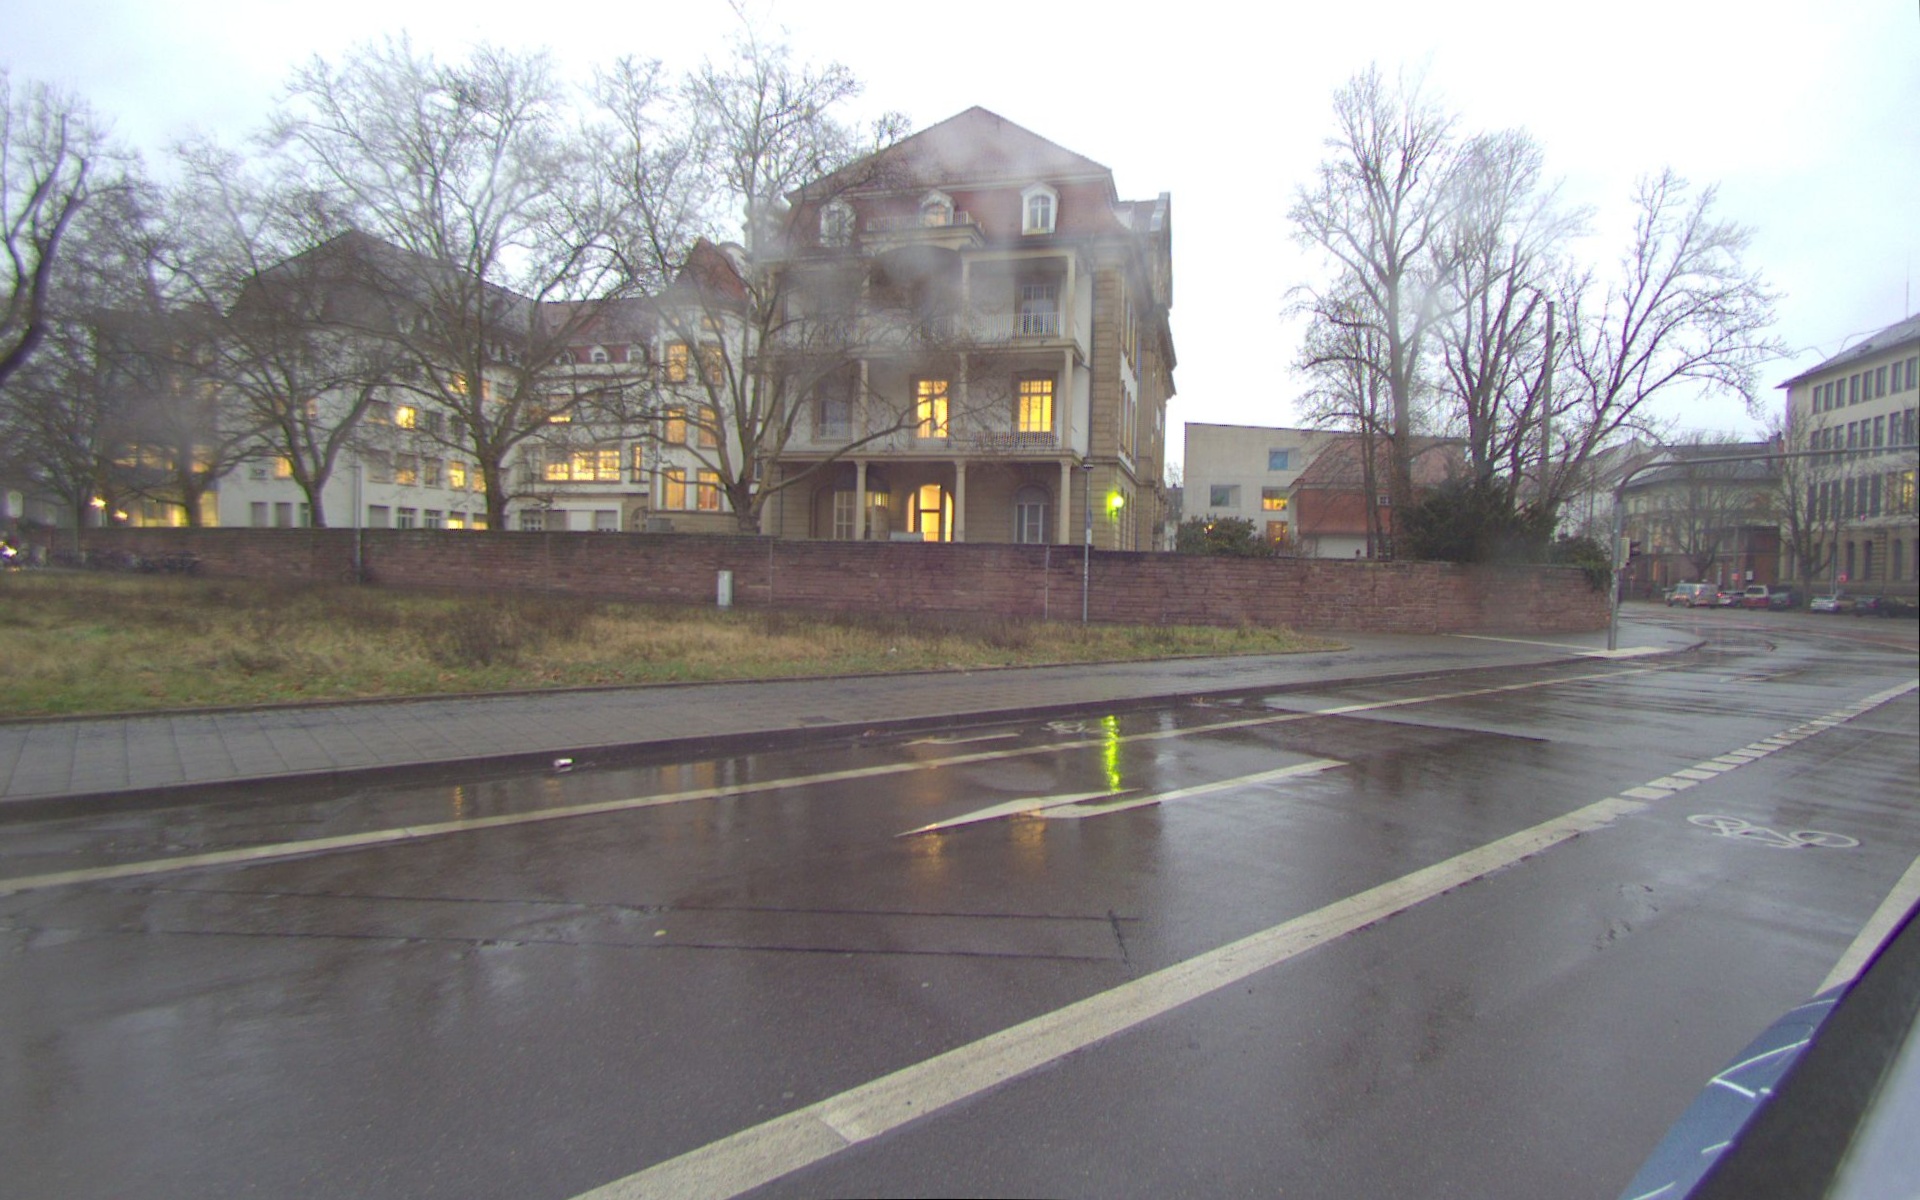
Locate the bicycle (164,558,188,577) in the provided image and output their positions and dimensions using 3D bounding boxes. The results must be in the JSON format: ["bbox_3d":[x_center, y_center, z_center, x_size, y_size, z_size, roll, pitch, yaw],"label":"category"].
[{"bbox_3d":[-35.548,-1.468,45.858,1.519,0.796,0.389,0,0,33],"label":"bicycle"}]

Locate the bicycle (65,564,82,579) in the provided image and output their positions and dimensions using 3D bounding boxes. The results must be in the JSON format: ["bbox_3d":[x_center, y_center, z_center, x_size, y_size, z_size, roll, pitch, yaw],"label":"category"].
[{"bbox_3d":[-47.893,-1.536,54.673,1.522,0.796,0.389,0,0,38],"label":"bicycle"}]

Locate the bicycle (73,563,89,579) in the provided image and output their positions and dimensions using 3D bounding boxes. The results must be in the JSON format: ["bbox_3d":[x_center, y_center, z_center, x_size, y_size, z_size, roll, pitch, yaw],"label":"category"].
[{"bbox_3d":[-46.670,-1.534,53.718,1.522,0.796,0.389,0,0,38],"label":"bicycle"}]

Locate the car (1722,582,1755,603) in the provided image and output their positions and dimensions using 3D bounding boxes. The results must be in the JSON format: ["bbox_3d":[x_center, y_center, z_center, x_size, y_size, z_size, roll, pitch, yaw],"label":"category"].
[{"bbox_3d":[66.484,-0.642,86.384,1.992,1.690,3.940,0,0,42],"label":"car"}]

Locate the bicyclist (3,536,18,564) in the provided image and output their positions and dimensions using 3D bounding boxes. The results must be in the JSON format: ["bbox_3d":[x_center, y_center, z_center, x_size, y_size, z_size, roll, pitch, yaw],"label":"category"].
[{"bbox_3d":[-58.168,-3.055,62.011,0.450,1.662,0.603,0,0,37],"label":"bicyclist"}]

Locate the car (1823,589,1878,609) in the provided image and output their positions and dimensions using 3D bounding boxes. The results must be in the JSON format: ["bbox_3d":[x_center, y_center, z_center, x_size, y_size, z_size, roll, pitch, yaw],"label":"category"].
[{"bbox_3d":[63.605,-0.080,72.297,3.568,1.322,1.712,-1,0,-25],"label":"car"}]

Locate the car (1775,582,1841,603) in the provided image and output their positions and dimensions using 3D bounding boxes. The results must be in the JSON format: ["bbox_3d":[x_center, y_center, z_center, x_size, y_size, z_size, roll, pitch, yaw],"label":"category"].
[{"bbox_3d":[64.703,-0.584,77.222,3.916,1.570,1.805,0,0,-13],"label":"car"}]

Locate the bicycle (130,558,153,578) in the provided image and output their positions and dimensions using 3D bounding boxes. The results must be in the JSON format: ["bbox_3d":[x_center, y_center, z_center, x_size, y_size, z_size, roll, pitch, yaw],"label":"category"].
[{"bbox_3d":[-38.624,-1.506,47.766,1.519,0.869,0.389,0,0,33],"label":"bicycle"}]

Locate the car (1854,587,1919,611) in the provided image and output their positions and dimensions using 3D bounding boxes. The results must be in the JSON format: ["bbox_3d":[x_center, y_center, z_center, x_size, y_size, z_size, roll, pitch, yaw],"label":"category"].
[{"bbox_3d":[61.961,-0.059,66.912,3.927,1.570,1.800,0,0,4],"label":"car"}]

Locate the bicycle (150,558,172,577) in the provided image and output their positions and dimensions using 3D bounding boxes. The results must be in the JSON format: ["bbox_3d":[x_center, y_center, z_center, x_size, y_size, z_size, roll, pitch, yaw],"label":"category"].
[{"bbox_3d":[-37.028,-1.496,46.884,1.480,0.849,0.346,0,0,32],"label":"bicycle"}]

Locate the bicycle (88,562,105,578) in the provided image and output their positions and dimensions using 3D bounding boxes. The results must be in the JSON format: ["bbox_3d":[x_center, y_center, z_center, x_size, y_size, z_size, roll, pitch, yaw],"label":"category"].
[{"bbox_3d":[-44.176,-1.528,51.766,1.522,0.796,0.389,0,0,38],"label":"bicycle"}]

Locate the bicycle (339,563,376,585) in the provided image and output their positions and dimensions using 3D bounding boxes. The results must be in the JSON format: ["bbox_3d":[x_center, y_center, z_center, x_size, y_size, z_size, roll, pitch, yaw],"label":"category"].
[{"bbox_3d":[-23.382,-0.988,39.269,1.366,0.835,0.392,0,0,14],"label":"bicycle"}]

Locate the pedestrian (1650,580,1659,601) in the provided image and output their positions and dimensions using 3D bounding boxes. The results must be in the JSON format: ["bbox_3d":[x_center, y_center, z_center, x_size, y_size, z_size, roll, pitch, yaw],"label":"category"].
[{"bbox_3d":[67.637,-0.907,98.605,0.540,2.038,0.472,3,2,18],"label":"pedestrian"}]

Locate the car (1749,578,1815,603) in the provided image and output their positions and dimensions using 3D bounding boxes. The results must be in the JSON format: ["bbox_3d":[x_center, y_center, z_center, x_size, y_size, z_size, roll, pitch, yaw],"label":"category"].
[{"bbox_3d":[64.984,-0.789,80.019,3.916,1.924,2.052,0,0,-13],"label":"car"}]

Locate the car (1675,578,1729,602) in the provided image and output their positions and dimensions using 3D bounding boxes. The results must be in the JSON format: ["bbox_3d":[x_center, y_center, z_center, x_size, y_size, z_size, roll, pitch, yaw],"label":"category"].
[{"bbox_3d":[59.568,-0.800,81.325,1.852,1.868,3.991,0,0,8],"label":"car"}]

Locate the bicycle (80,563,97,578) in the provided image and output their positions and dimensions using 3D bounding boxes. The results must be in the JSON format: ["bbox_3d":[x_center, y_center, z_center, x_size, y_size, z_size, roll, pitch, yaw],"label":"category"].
[{"bbox_3d":[-45.439,-1.531,52.740,1.522,0.796,0.389,0,0,38],"label":"bicycle"}]

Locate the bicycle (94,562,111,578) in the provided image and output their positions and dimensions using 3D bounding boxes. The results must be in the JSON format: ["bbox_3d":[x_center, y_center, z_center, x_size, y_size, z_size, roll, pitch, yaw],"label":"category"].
[{"bbox_3d":[-43.128,-1.494,50.895,1.522,0.796,0.389,0,0,38],"label":"bicycle"}]

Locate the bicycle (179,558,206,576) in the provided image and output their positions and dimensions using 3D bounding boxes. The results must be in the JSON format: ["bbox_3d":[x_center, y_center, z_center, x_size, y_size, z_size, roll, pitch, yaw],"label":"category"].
[{"bbox_3d":[-34.208,-1.468,45.109,1.399,0.796,0.355,0,0,26],"label":"bicycle"}]

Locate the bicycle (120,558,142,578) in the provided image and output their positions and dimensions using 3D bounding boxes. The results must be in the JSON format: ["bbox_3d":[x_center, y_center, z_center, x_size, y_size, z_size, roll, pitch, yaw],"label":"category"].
[{"bbox_3d":[-39.906,-1.538,48.720,1.519,0.928,0.389,0,0,33],"label":"bicycle"}]

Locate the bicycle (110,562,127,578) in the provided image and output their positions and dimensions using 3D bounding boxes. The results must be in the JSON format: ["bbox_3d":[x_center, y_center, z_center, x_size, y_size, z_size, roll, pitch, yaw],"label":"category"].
[{"bbox_3d":[-41.471,-1.475,49.875,1.599,0.796,0.388,0,0,41],"label":"bicycle"}]

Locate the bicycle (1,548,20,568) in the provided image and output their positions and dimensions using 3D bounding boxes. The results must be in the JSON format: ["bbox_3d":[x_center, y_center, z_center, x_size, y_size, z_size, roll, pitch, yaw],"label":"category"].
[{"bbox_3d":[-58.161,-2.571,62.002,1.670,1.182,0.603,0,0,37],"label":"bicycle"}]
